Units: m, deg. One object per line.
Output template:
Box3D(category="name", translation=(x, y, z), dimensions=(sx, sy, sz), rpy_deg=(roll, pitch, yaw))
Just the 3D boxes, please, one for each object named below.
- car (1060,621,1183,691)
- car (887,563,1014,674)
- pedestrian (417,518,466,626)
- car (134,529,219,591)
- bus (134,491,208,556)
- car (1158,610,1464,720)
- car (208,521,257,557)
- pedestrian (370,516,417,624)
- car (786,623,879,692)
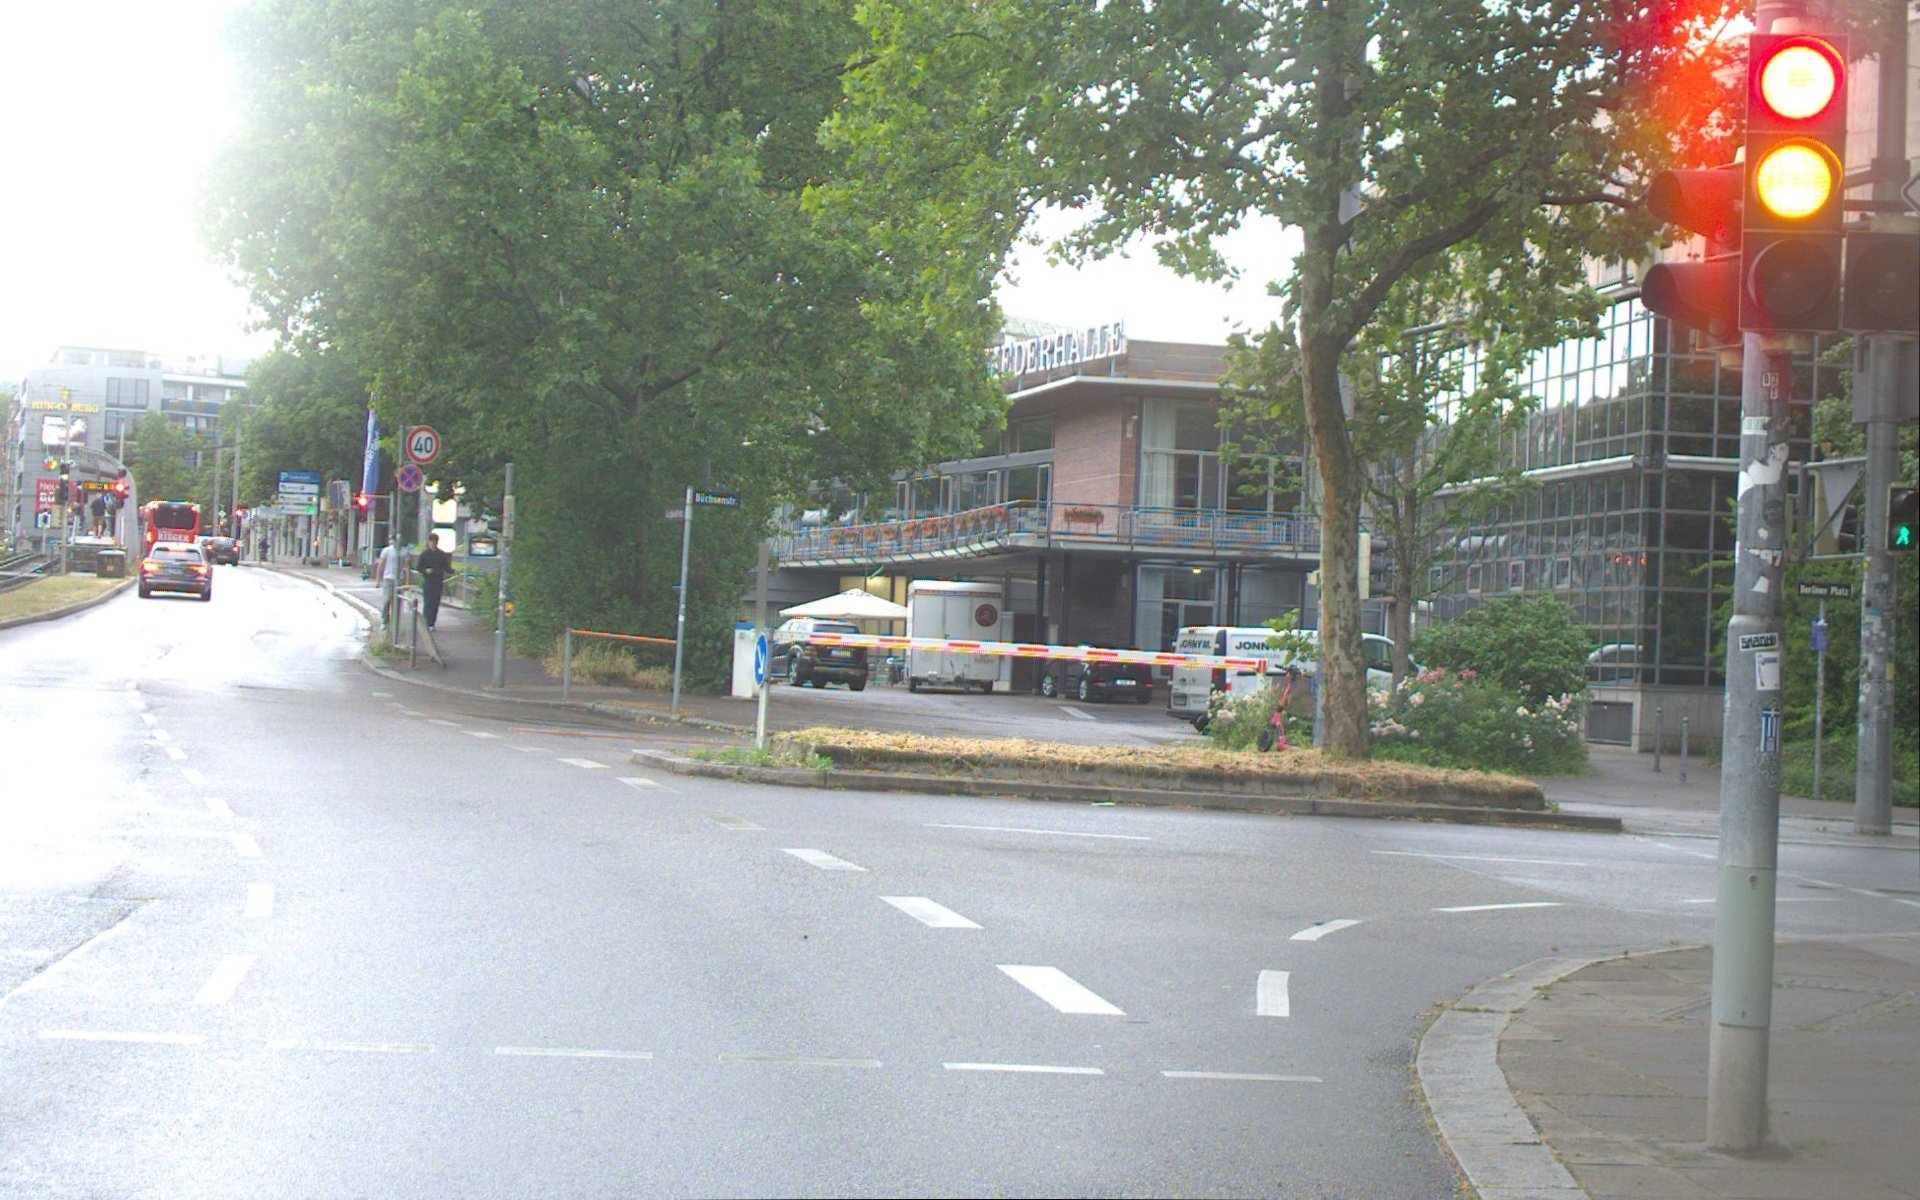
Box3D(category="car", translation=(4.164, 1.434, 89.231), dimensions=(2.019, 1.546, 4.351), rpy_deg=(3, 1, -13))
Box3D(category="car", translation=(-0.326, 0.437, 91.427), dimensions=(2.731, 2.686, 6.923), rpy_deg=(3, 1, -5))
Box3D(category="pedestrian", translation=(-9.785, -0.530, 64.872), dimensions=(0.874, 2.007, 1.077), rpy_deg=(1, 0, -8))
Box3D(category="car", translation=(-20.081, -1.025, 88.272), dimensions=(1.993, 1.514, 4.351), rpy_deg=(1, 1, -11))
Box3D(category="bus", translation=(-40.495, -3.863, 176.415), dimensions=(3.589, 3.160, 10.423), rpy_deg=(1, 1, -13))
Box3D(category="car", translation=(6.364, 1.178, 62.206), dimensions=(5.198, 1.725, 1.875), rpy_deg=(3, 1, -25))
Box3D(category="car", translation=(-38.404, -3.209, 181.398), dimensions=(2.362, 1.810, 5.185), rpy_deg=(1, 1, -13))
Box3D(category="pedestrian", translation=(-10.675, -0.571, 64.828), dimensions=(0.814, 2.007, 1.077), rpy_deg=(1, 0, -8))
Box3D(category="car", translation=(-3.238, 1.456, 87.950), dimensions=(2.019, 1.546, 4.350), rpy_deg=(3, 1, 2))
